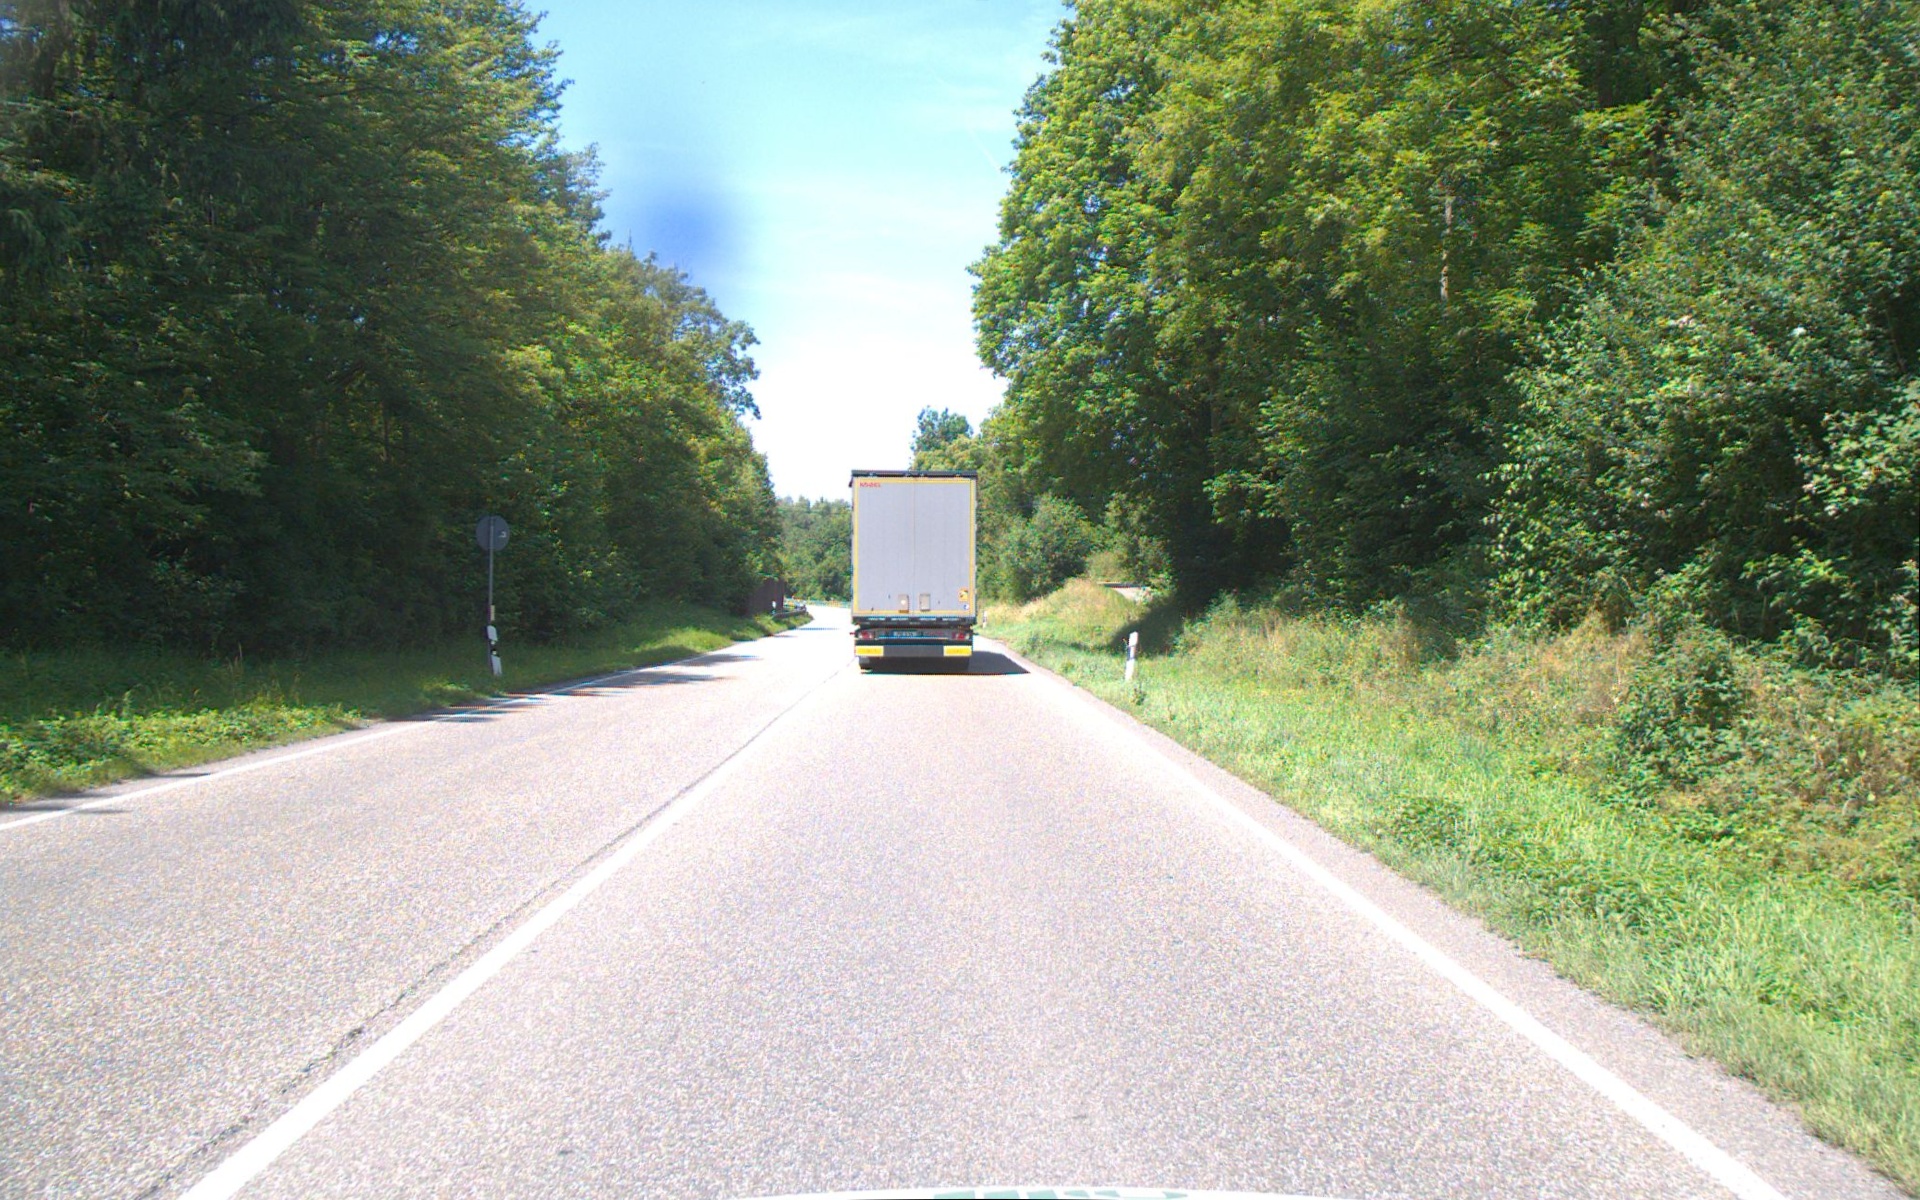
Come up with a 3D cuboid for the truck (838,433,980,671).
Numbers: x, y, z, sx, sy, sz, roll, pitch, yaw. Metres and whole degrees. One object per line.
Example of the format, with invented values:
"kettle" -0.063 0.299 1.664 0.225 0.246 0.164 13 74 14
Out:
"truck" -0.981 -0.902 35.997 2.764 4.685 6.664 1 -1 0
